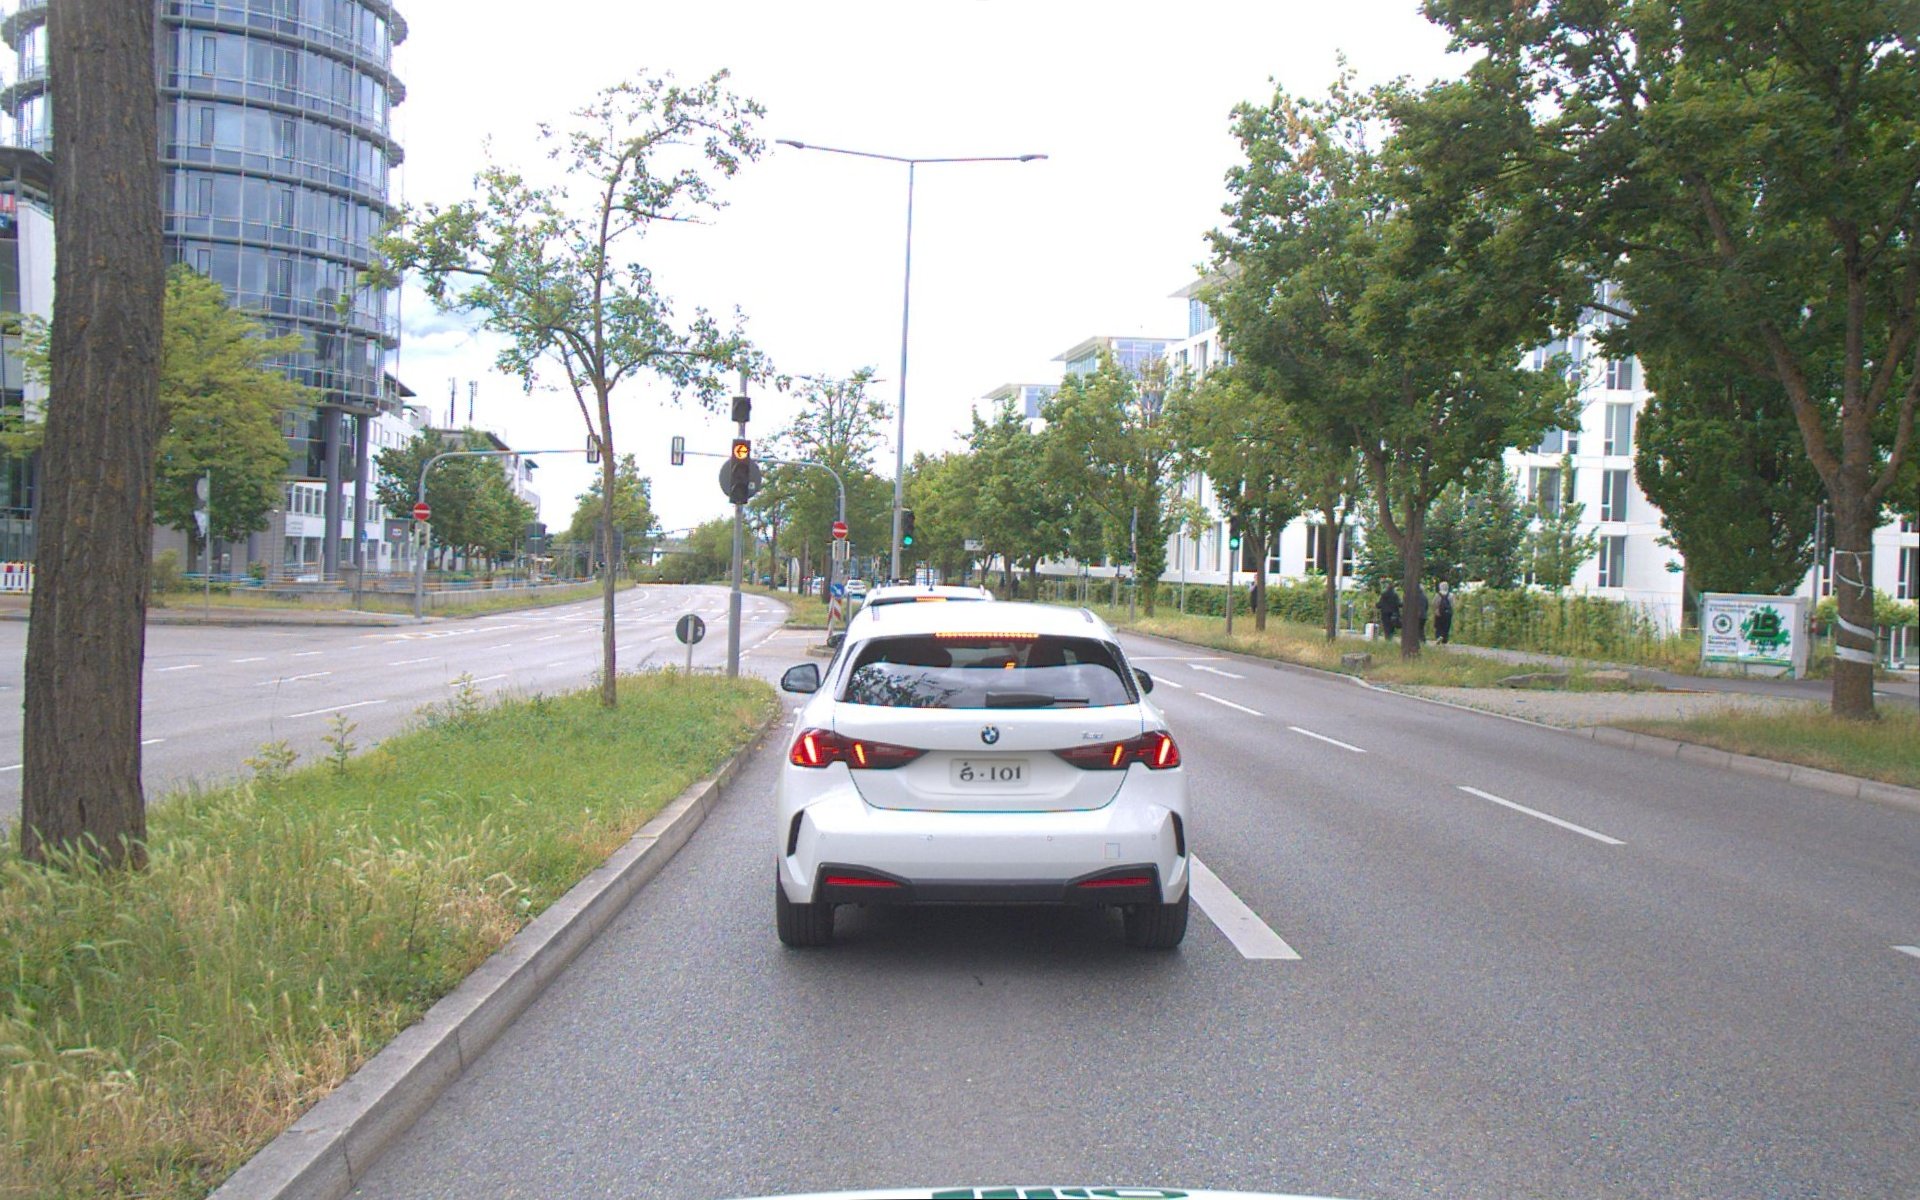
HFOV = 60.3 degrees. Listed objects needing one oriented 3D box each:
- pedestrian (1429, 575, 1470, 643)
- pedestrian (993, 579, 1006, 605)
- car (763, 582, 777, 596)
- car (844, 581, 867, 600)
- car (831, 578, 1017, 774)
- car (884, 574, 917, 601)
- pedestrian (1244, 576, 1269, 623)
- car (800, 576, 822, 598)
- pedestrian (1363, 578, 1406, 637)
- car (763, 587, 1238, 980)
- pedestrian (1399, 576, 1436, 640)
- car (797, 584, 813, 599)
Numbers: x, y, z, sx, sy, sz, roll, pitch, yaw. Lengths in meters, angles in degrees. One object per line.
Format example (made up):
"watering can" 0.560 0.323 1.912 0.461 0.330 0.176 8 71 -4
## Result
"pedestrian" 12.561 0.222 42.443 0.751 1.715 0.883 1 -1 -2
"pedestrian" 3.161 -0.626 132.349 0.749 2.049 0.751 1 0 -16
"car" -23.874 -1.441 208.259 1.570 1.695 3.997 1 0 -4
"car" -8.859 -0.818 140.036 1.661 1.512 3.686 1 0 -9
"car" -0.325 0.627 15.844 1.518 1.596 3.999 1 0 -1
"car" -3.850 -0.824 107.277 1.955 1.699 3.996 0 0 -5
"pedestrian" 10.346 -0.025 57.660 0.726 1.601 0.674 1 -1 -2
"car" -12.118 -1.061 134.318 1.663 1.747 3.994 1 0 -7
"pedestrian" 10.972 0.196 42.753 0.773 1.473 1.111 1 0 -2
"car" 0.128 0.694 8.332 1.785 1.463 3.999 1 0 -1
"pedestrian" 11.733 0.208 42.445 0.685 1.623 0.883 1 0 -2
"car" -17.483 -0.940 186.459 1.705 1.695 3.997 1 0 -4
